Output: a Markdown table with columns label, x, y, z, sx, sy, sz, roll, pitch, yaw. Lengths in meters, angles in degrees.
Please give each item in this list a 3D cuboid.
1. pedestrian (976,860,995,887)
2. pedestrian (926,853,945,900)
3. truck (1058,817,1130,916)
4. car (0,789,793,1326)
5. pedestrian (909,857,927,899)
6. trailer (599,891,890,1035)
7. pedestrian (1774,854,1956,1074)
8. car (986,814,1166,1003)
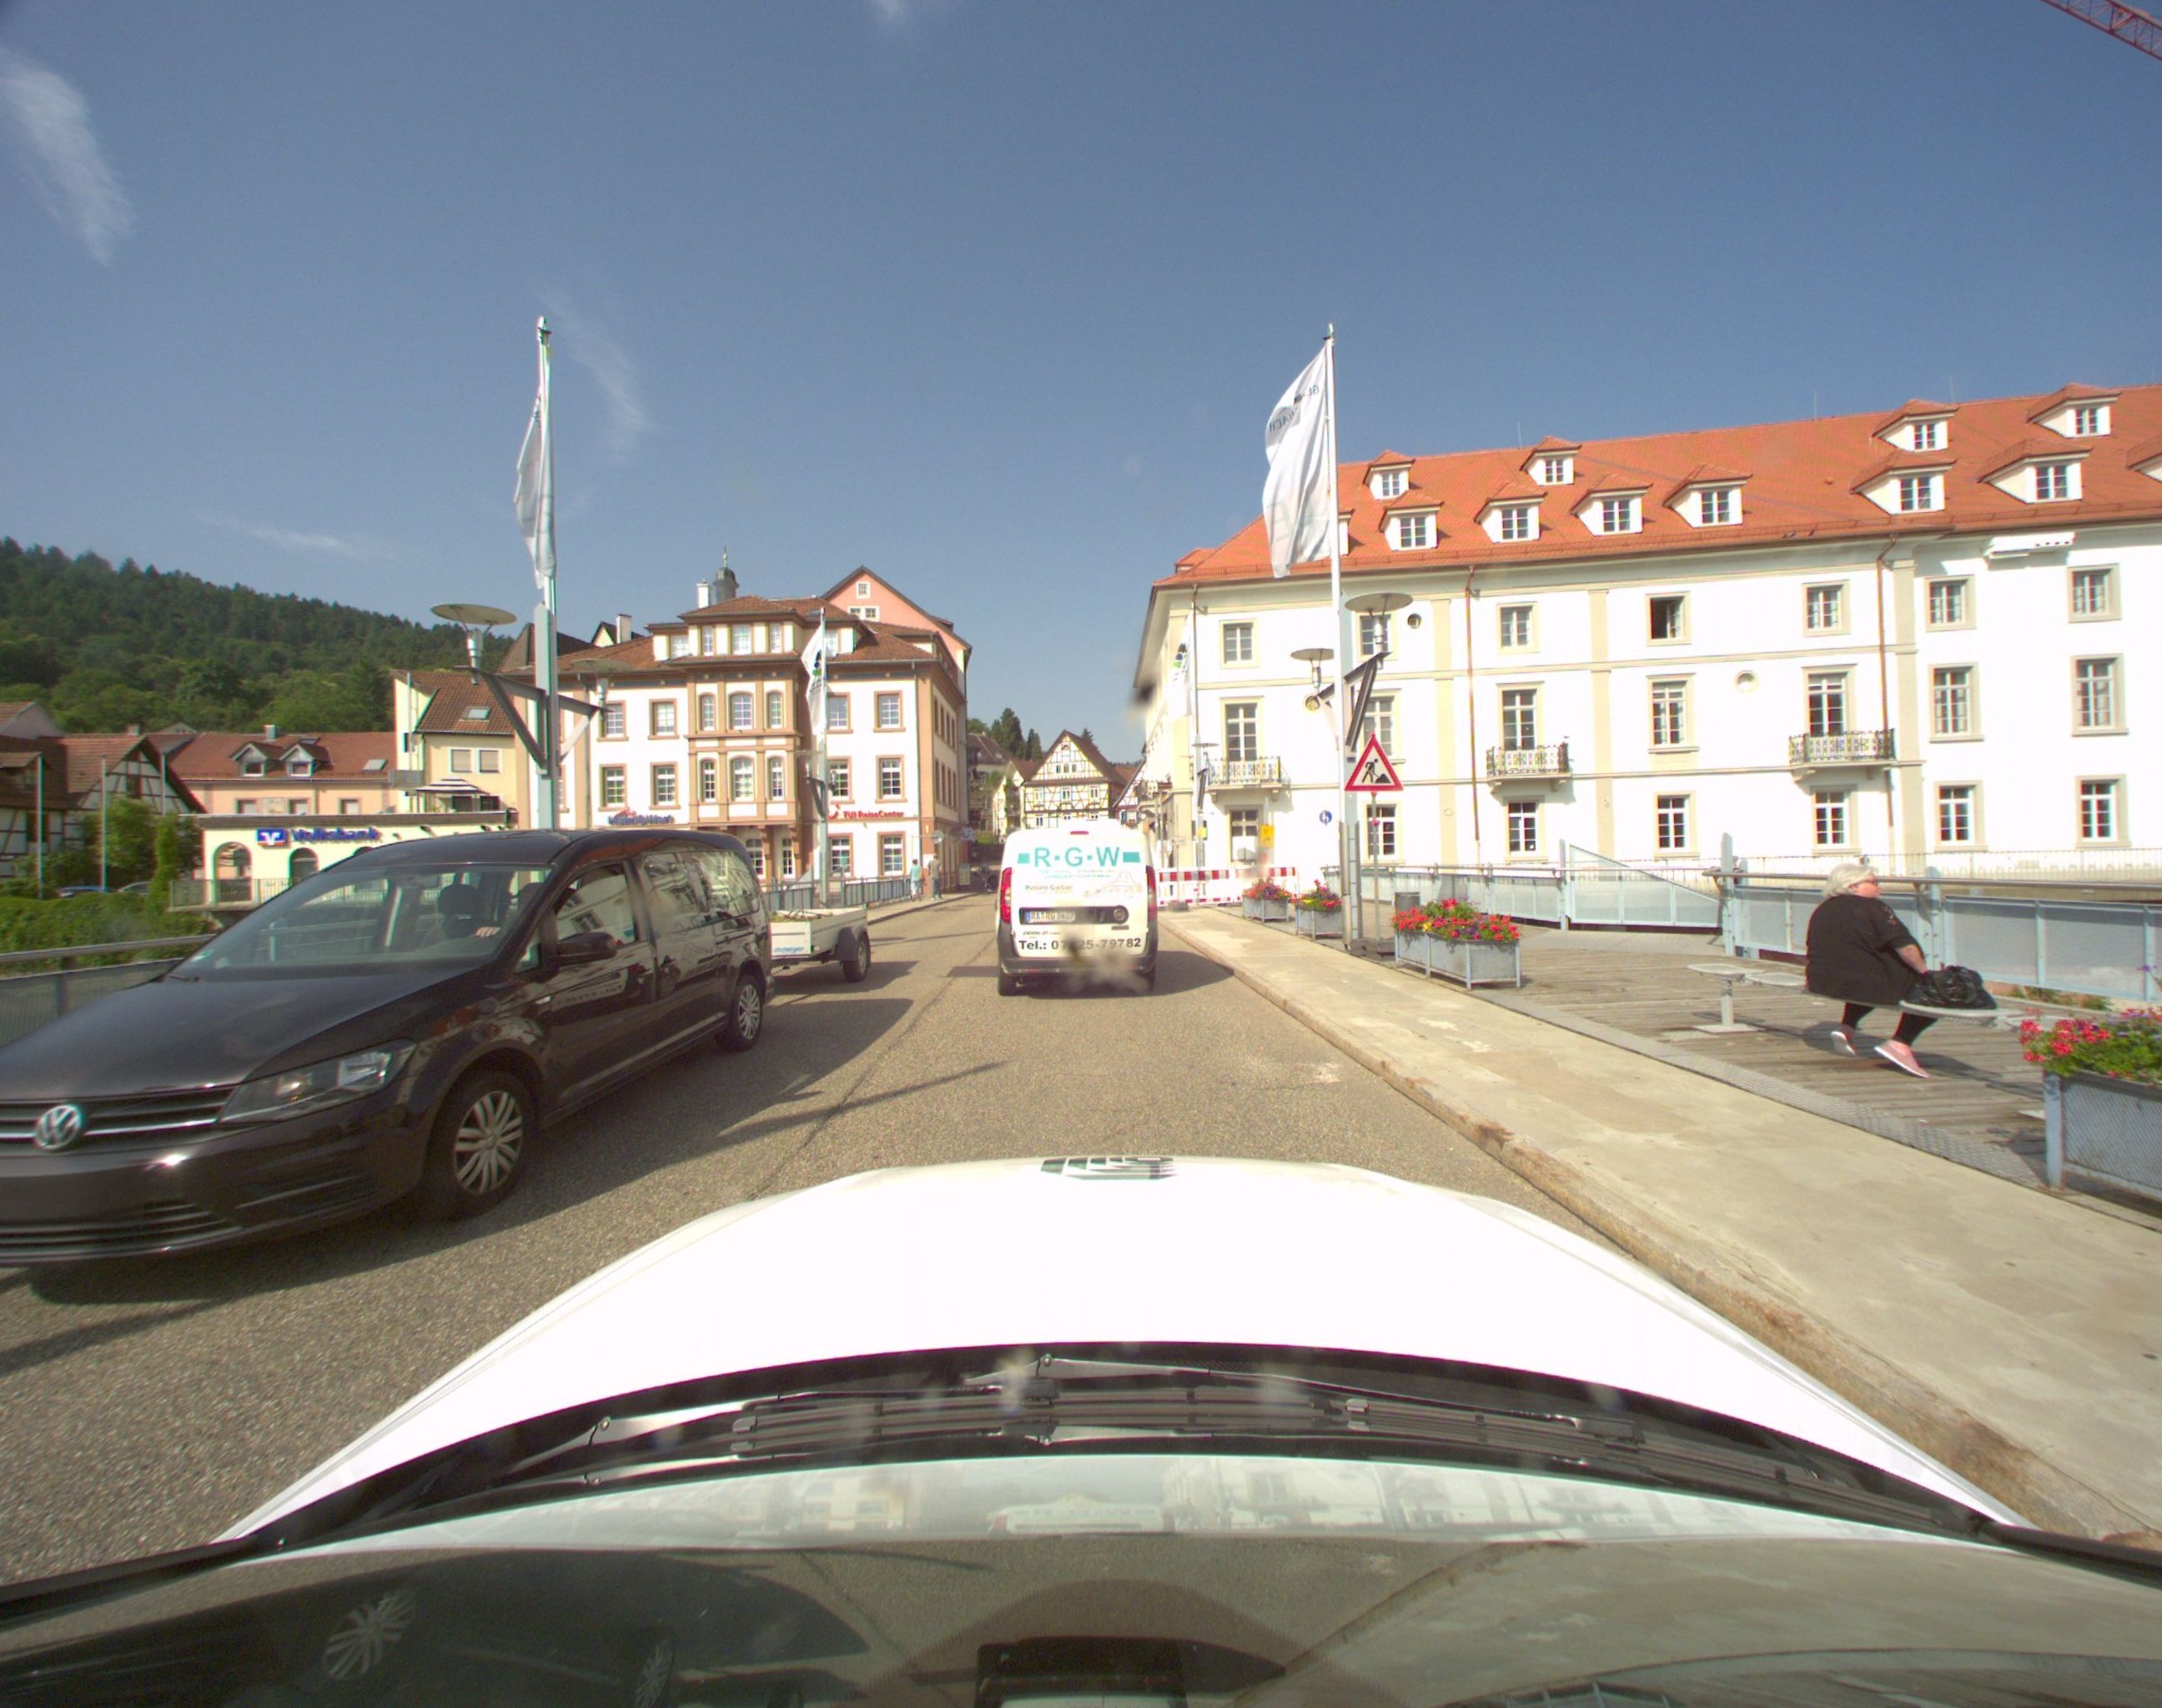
| label | x | y | z | sx | sy | sz | roll | pitch | yaw |
| --- | --- | --- | --- | --- | --- | --- | --- | --- | --- |
| pedestrian | -6.098 | 1.234 | 51.956 | 1.070 | 1.647 | 0.686 | -2 | 0 | 1 |
| pedestrian | -5.616 | 0.855 | 31.438 | 0.613 | 1.762 | 0.863 | -1 | 0 | -3 |
| truck | 0.287 | 0.341 | 23.660 | 1.856 | 2.585 | 4.257 | -1 | 0 | -2 |
| car | -3.473 | 0.664 | 5.088 | 1.772 | 1.792 | 4.694 | -1 | 0 | -2 |
| pedestrian | -6.300 | 0.925 | 31.518 | 0.582 | 1.609 | 0.536 | -1 | 0 | -4 |
| trailer | -3.572 | 1.093 | 9.566 | 1.746 | 1.022 | 4.183 | -2 | 0 | -2 |
| pedestrian | 4.781 | 0.634 | 5.002 | 0.451 | 1.244 | 0.625 | -2 | -1 | -6 |
| car | -0.217 | 0.561 | 10.534 | 1.841 | 1.906 | 4.307 | -1 | 0 | -5 |
